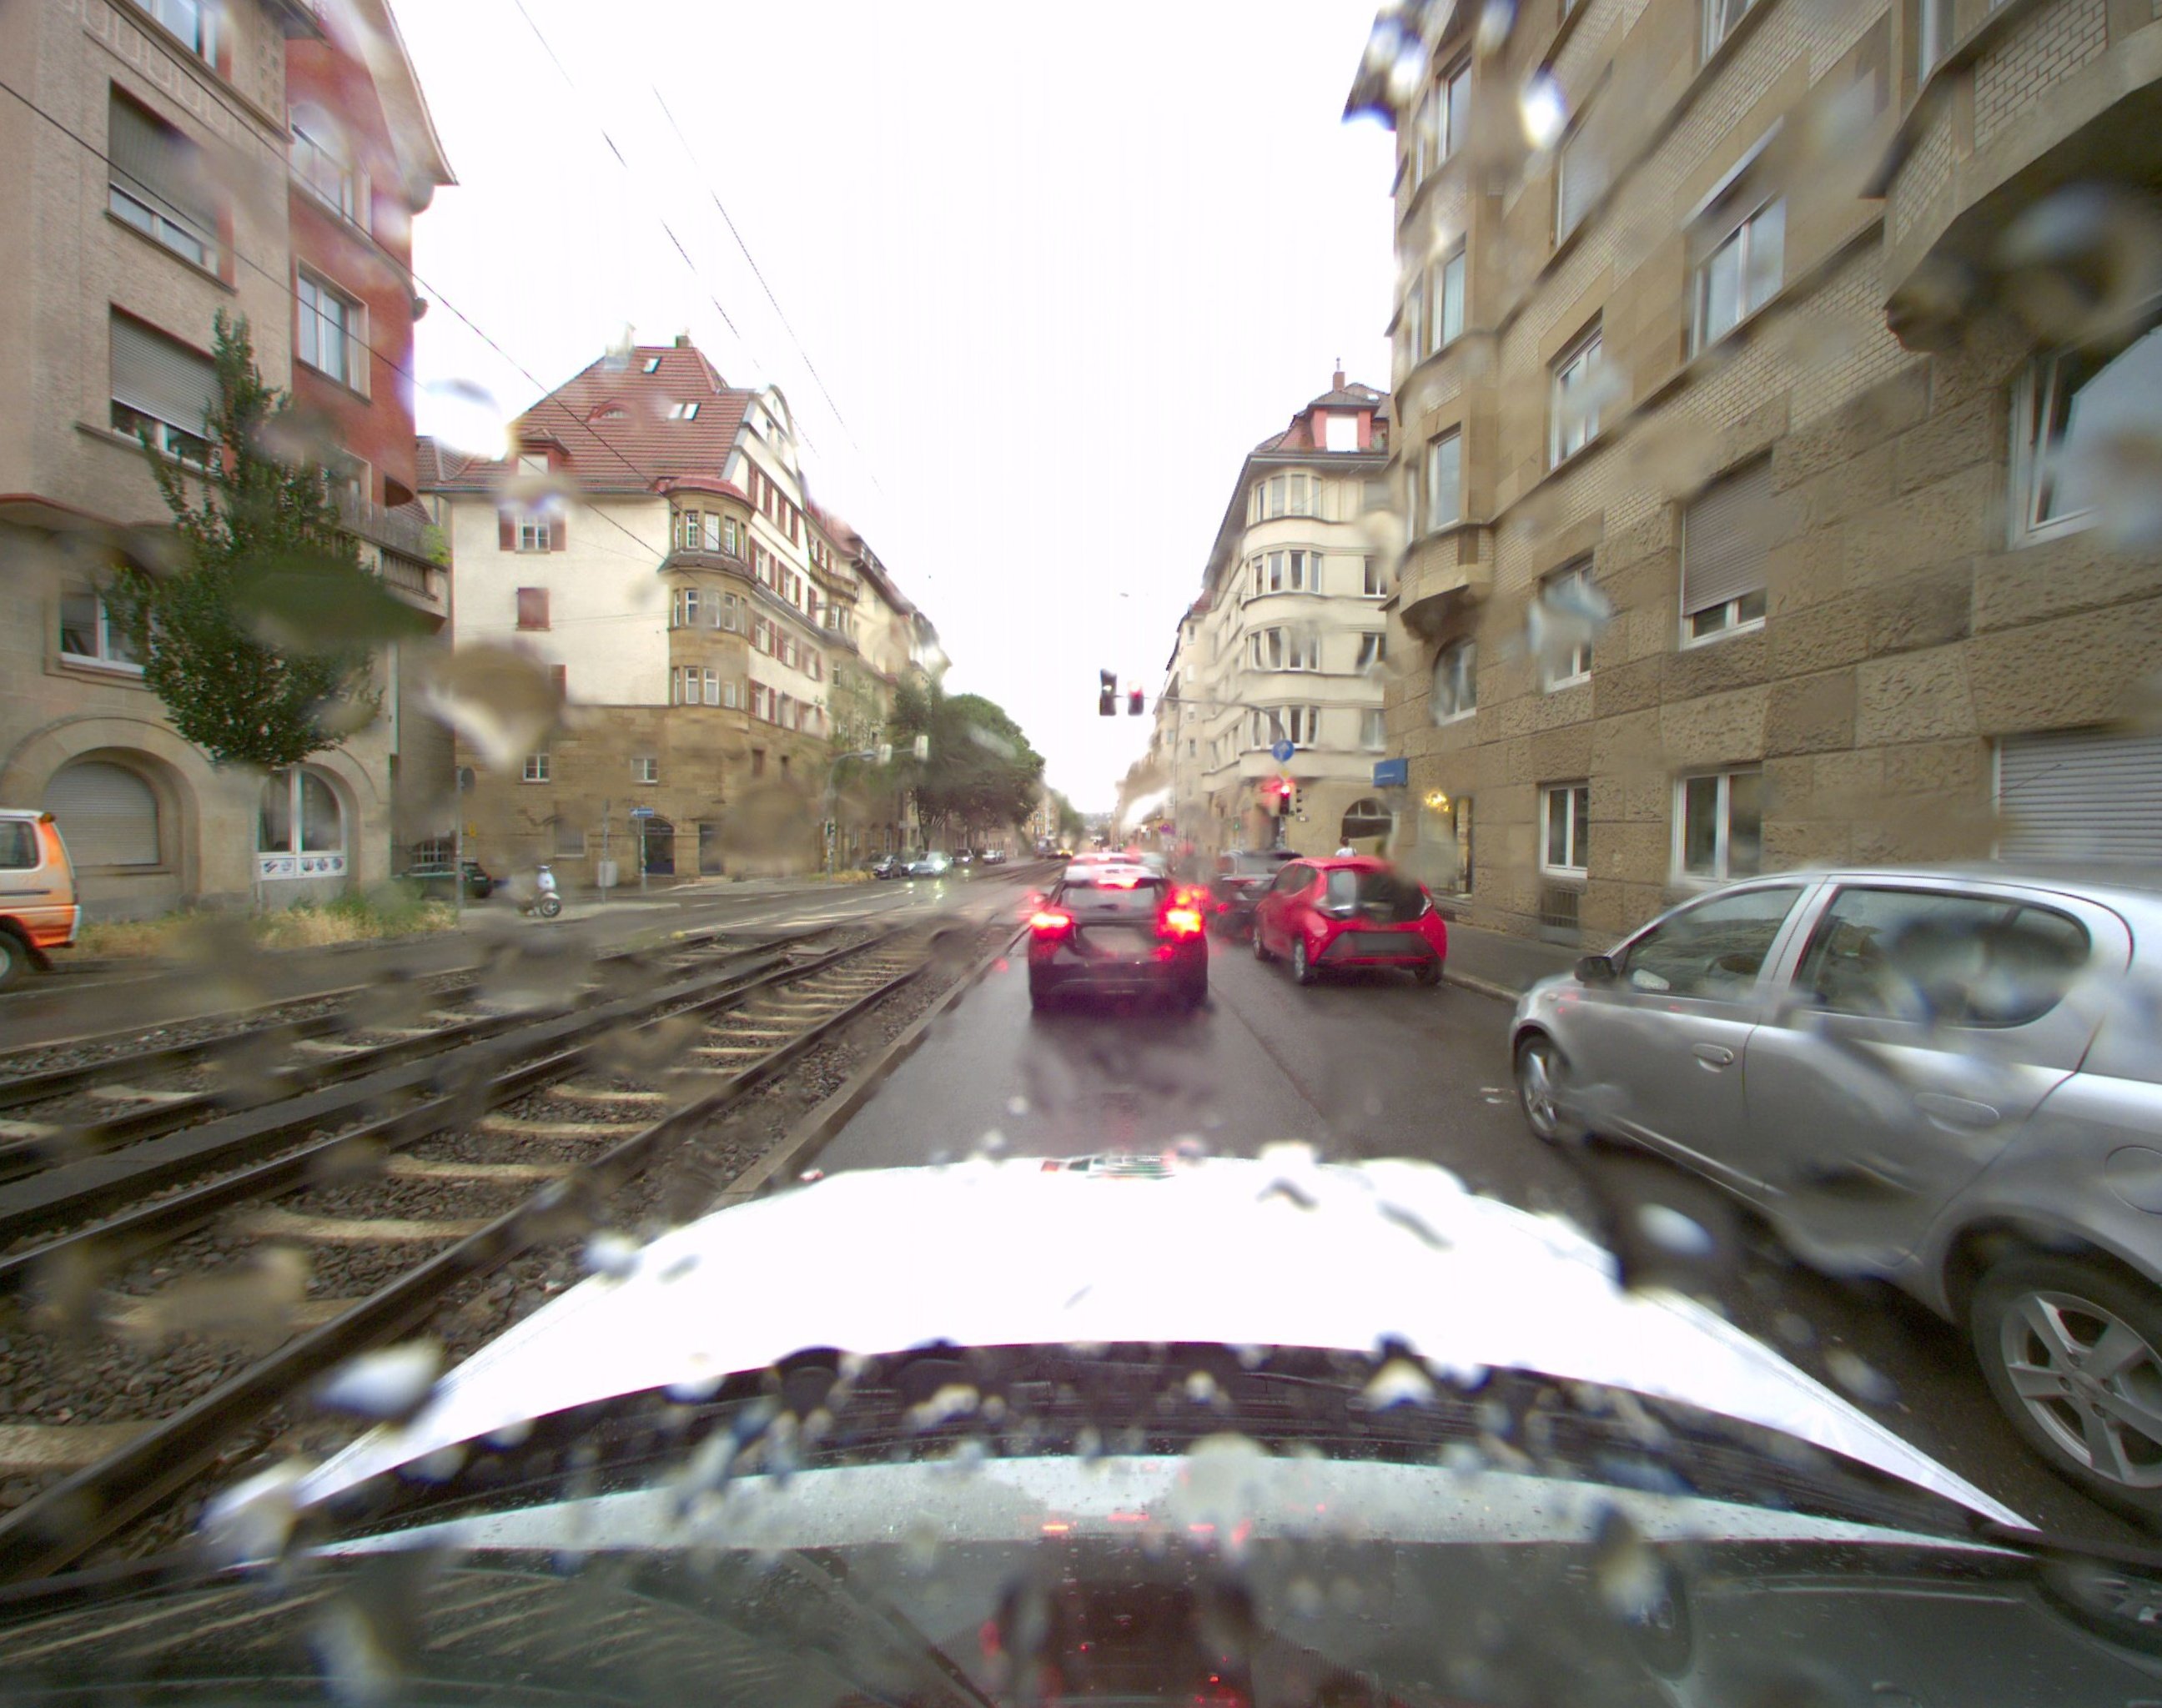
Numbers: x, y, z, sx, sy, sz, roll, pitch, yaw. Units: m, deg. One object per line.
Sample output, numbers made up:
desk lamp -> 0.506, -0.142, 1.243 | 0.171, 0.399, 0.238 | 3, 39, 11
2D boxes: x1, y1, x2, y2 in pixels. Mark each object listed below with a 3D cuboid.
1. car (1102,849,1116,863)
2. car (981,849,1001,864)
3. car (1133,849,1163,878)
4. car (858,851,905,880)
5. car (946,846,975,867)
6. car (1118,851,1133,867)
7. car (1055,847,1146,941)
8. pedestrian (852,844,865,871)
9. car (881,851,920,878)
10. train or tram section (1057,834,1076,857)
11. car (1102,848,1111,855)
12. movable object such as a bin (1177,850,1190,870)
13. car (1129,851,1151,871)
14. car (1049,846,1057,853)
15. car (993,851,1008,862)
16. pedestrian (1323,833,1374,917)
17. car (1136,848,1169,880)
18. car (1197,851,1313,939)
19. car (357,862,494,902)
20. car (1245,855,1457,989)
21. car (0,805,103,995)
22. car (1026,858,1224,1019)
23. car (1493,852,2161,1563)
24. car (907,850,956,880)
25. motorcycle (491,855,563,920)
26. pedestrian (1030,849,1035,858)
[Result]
car -> 3.220, 0.240, 93.965 | 1.538, 1.636, 3.688 | 0, 0, 3
car -> -9.869, 0.321, 89.570 | 1.583, 1.581, 3.920 | 0, -1, 2
car -> 3.841, 0.535, 47.148 | 1.539, 1.590, 3.549 | 0, 0, 2
car -> -11.256, 0.650, 46.089 | 1.747, 1.552, 4.033 | 0, -1, -2
car -> -10.598, 0.227, 72.112 | 1.868, 1.737, 3.920 | 0, -1, 2
car -> 4.024, 0.415, 73.646 | 1.289, 1.442, 2.930 | 0, 0, 2
car -> 0.392, 0.707, 15.932 | 1.559, 1.609, 3.815 | 0, -1, 2
pedestrian -> -13.867, 0.202, 50.777 | 0.630, 1.672, 0.701 | 0, -1, -7
car -> -11.288, 0.657, 51.124 | 1.713, 1.611, 3.914 | 0, -1, -3
train or tram section -> -2.542, -1.501, 146.546 | 2.772, 3.861, 10.433 | 0, -1, 2
car -> 6.405, -0.584, 204.221 | 1.986, 1.876, 4.001 | 0, -1, 2
movable object such as a bin -> 7.472, 0.433, 59.529 | 0.873, 1.389, 0.984 | -1, -1, 5
car -> 4.414, 0.539, 61.555 | 1.539, 1.486, 3.549 | 0, 0, 2
car -> -5.185, -0.873, 152.209 | 1.372, 1.249, 3.297 | 0, -1, 0
car -> -9.799, 0.309, 98.985 | 1.443, 1.331, 3.271 | 0, -1, 0
pedestrian -> 5.767, 0.439, 17.596 | 0.739, 1.748, 1.111 | 0, -1, 2
car -> 3.700, 0.491, 42.674 | 1.539, 1.590, 3.549 | 0, 0, 2
car -> 3.242, 0.696, 15.782 | 1.539, 1.486, 3.831 | 0, 0, 2
car -> -24.385, 1.021, 30.381 | 3.633, 1.404, 1.699 | 0, -1, -3
car -> 3.276, 0.741, 10.538 | 1.637, 1.448, 3.298 | 0, 0, -1
car -> -12.123, 0.476, 7.182 | 1.725, 1.975, 4.341 | 0, -1, 0
car -> 0.465, 0.788, 9.536 | 1.822, 1.458, 4.105 | 0, 0, 2
car -> 3.145, 0.748, 3.072 | 1.608, 1.467, 3.314 | -2, 0, 3
car -> -8.271, 0.591, 45.403 | 1.891, 1.588, 3.974 | 0, -1, 2
motorcycle -> -12.068, 0.720, 17.738 | 1.577, 1.365, 0.628 | -1, -1, 28
pedestrian -> -10.751, -0.204, 180.697 | 1.049, 1.957, 1.043 | 1, 0, 3
